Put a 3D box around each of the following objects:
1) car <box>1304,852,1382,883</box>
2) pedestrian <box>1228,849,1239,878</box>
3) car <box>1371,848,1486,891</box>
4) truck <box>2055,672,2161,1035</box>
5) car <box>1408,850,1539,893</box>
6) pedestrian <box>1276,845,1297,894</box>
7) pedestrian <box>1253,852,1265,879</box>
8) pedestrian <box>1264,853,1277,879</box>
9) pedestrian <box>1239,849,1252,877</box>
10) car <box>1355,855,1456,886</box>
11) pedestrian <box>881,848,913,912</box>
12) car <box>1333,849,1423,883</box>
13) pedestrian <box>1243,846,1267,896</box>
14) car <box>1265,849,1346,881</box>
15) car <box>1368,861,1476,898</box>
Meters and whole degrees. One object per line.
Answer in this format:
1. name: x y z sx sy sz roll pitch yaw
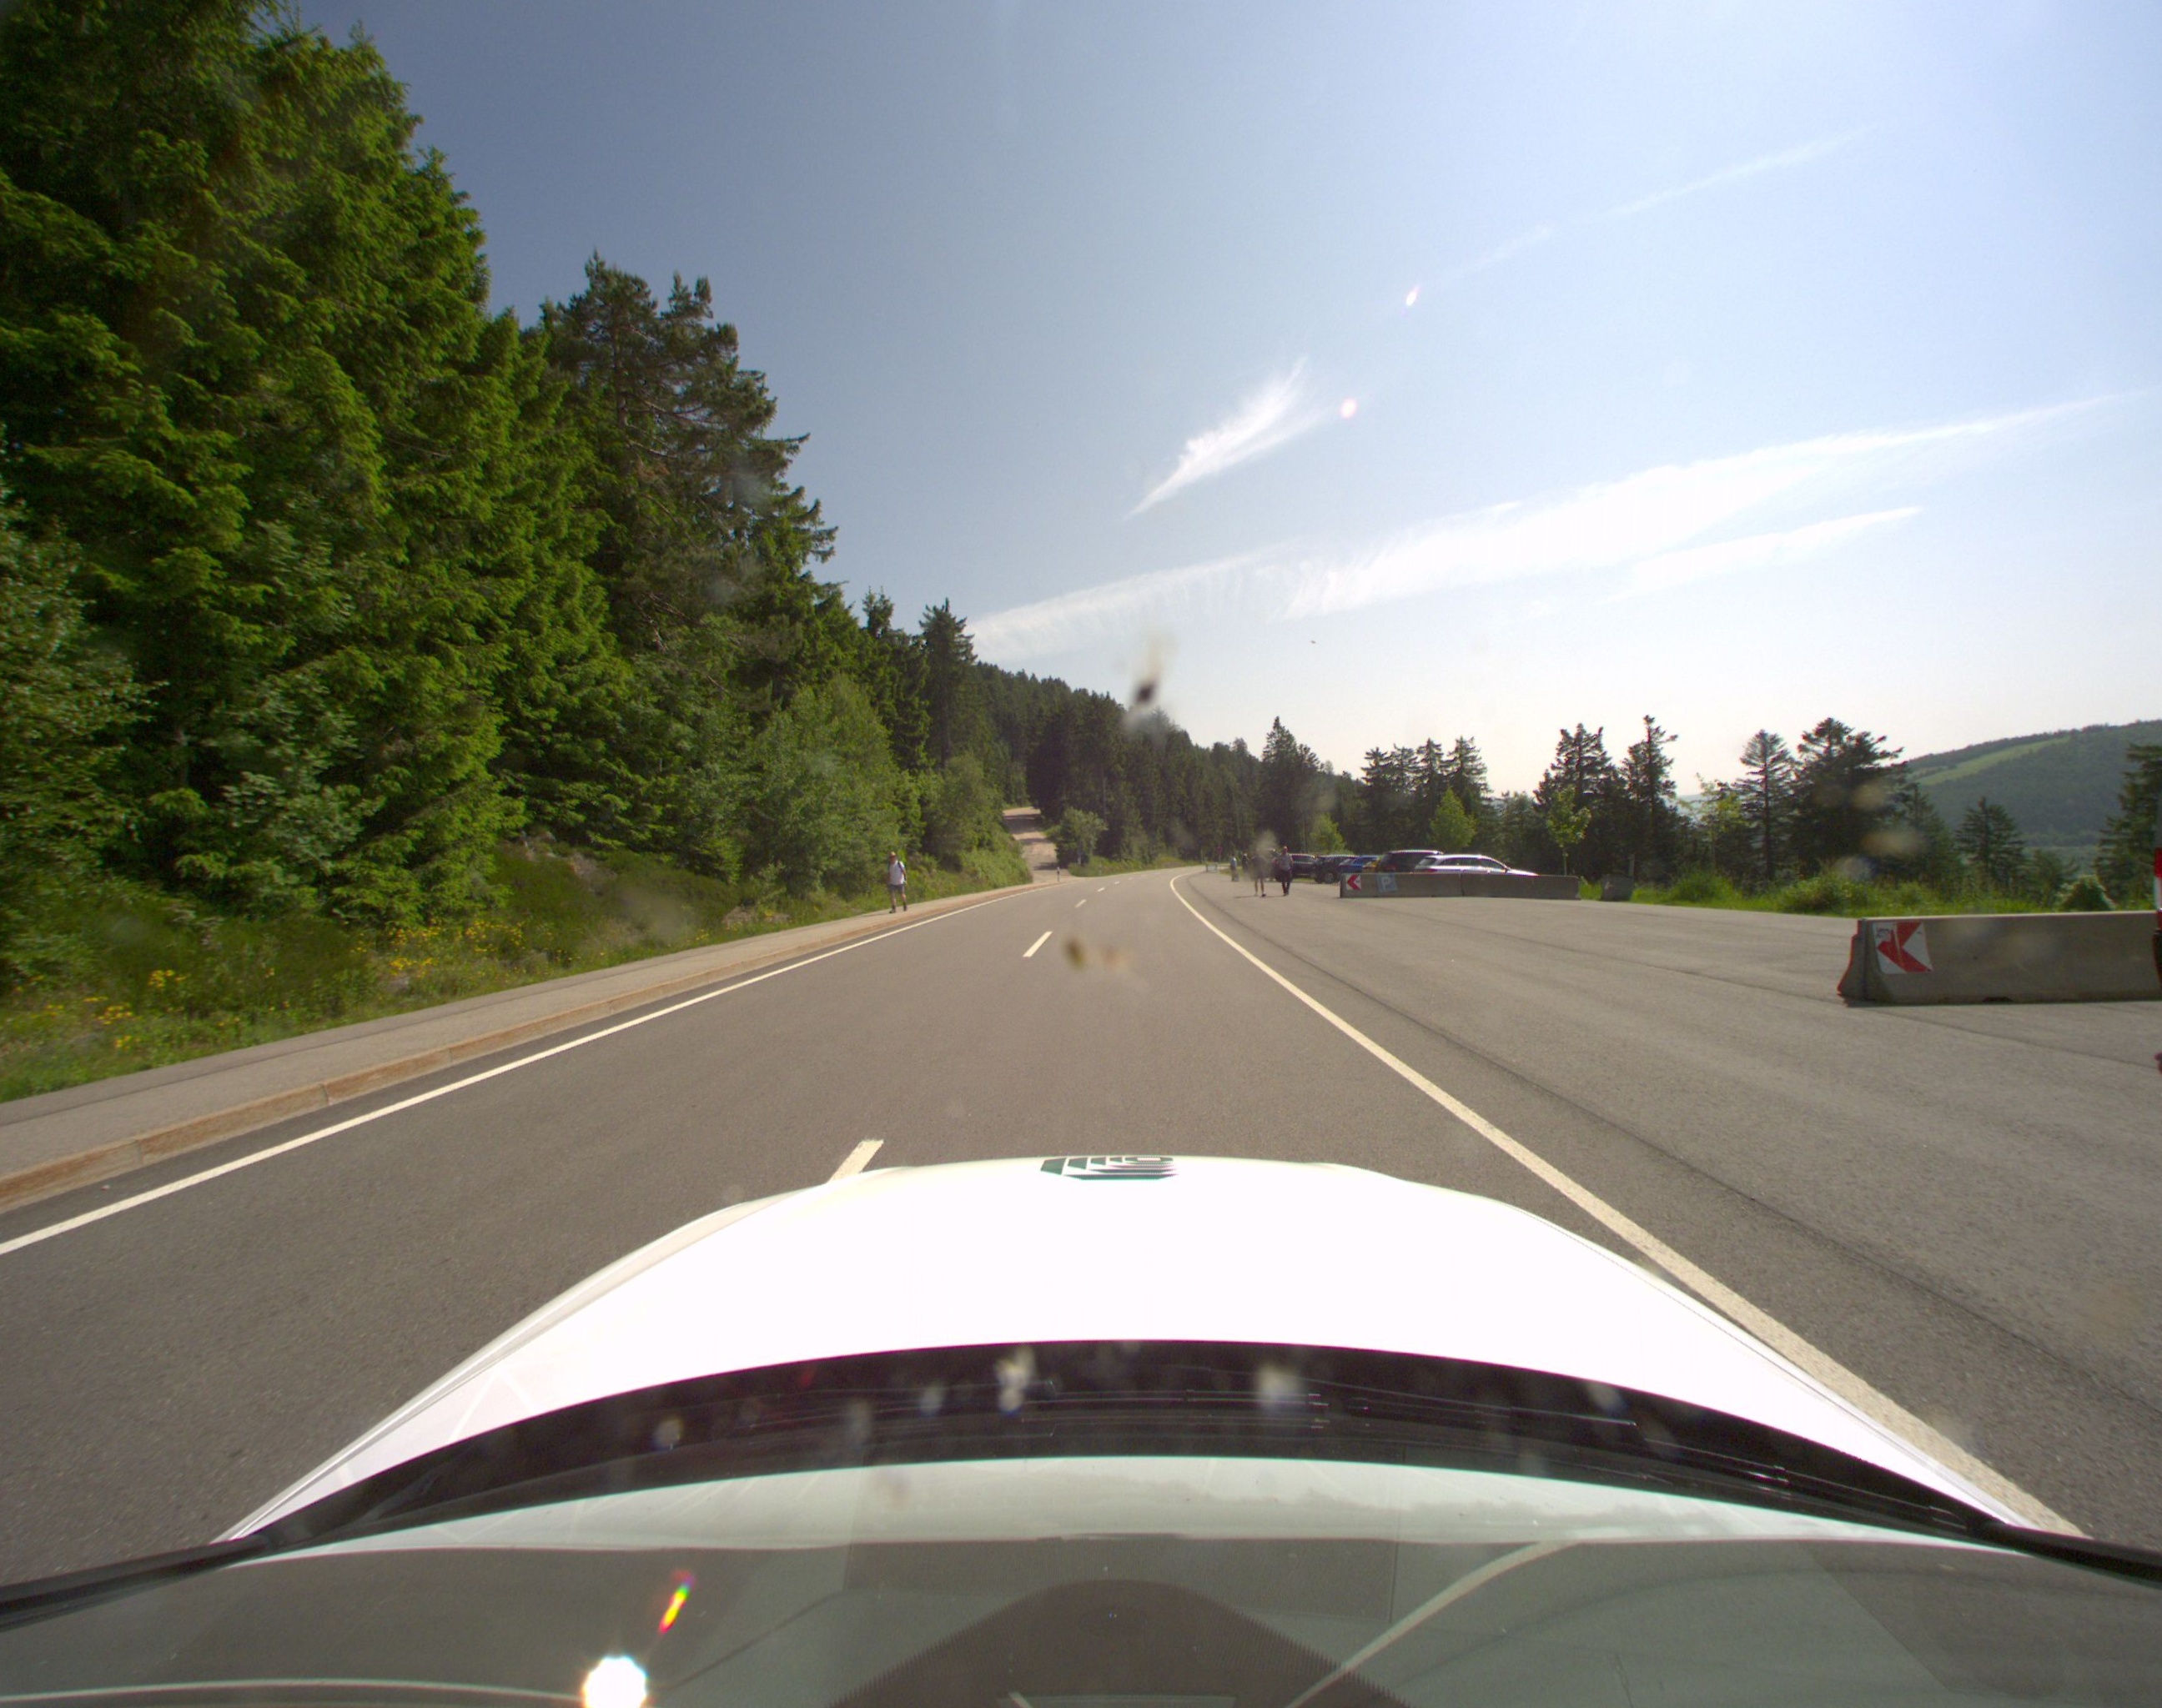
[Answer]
1. car: 14.423 0.736 44.950 3.743 1.567 1.598 -1 -1 -3
2. pedestrian: 9.478 0.586 50.630 0.613 1.775 0.726 -1 -1 10
3. car: 13.953 0.610 32.814 3.975 1.647 1.600 1 -1 -1
4. truck: 10.778 -0.094 5.144 6.235 2.590 2.342 -2 0 2
5. car: 14.334 0.618 29.882 3.974 1.476 1.773 1 0 0
6. pedestrian: 7.413 0.540 29.375 0.660 1.741 0.898 -2 0 16
7. pedestrian: 11.306 0.718 51.656 0.647 1.660 0.690 -2 1 16
8. pedestrian: 11.819 0.733 50.676 0.611 1.587 0.739 -2 1 22
9. pedestrian: 9.991 0.557 49.458 0.711 1.692 0.620 -1 -1 10
10. car: 15.126 0.767 38.111 3.971 1.353 1.988 -1 0 2
11. pedestrian: -5.202 0.727 23.094 0.680 1.746 0.825 -1 0 0
12. car: 15.105 0.608 41.530 3.975 1.535 1.807 -1 3 -1
13. pedestrian: 6.335 0.606 29.590 0.748 1.760 0.779 -2 0 16
14. car: 13.202 0.657 48.058 4.249 1.794 1.892 -1 -1 0
15. car: 14.890 1.092 35.677 3.981 1.436 1.764 1 -1 2
